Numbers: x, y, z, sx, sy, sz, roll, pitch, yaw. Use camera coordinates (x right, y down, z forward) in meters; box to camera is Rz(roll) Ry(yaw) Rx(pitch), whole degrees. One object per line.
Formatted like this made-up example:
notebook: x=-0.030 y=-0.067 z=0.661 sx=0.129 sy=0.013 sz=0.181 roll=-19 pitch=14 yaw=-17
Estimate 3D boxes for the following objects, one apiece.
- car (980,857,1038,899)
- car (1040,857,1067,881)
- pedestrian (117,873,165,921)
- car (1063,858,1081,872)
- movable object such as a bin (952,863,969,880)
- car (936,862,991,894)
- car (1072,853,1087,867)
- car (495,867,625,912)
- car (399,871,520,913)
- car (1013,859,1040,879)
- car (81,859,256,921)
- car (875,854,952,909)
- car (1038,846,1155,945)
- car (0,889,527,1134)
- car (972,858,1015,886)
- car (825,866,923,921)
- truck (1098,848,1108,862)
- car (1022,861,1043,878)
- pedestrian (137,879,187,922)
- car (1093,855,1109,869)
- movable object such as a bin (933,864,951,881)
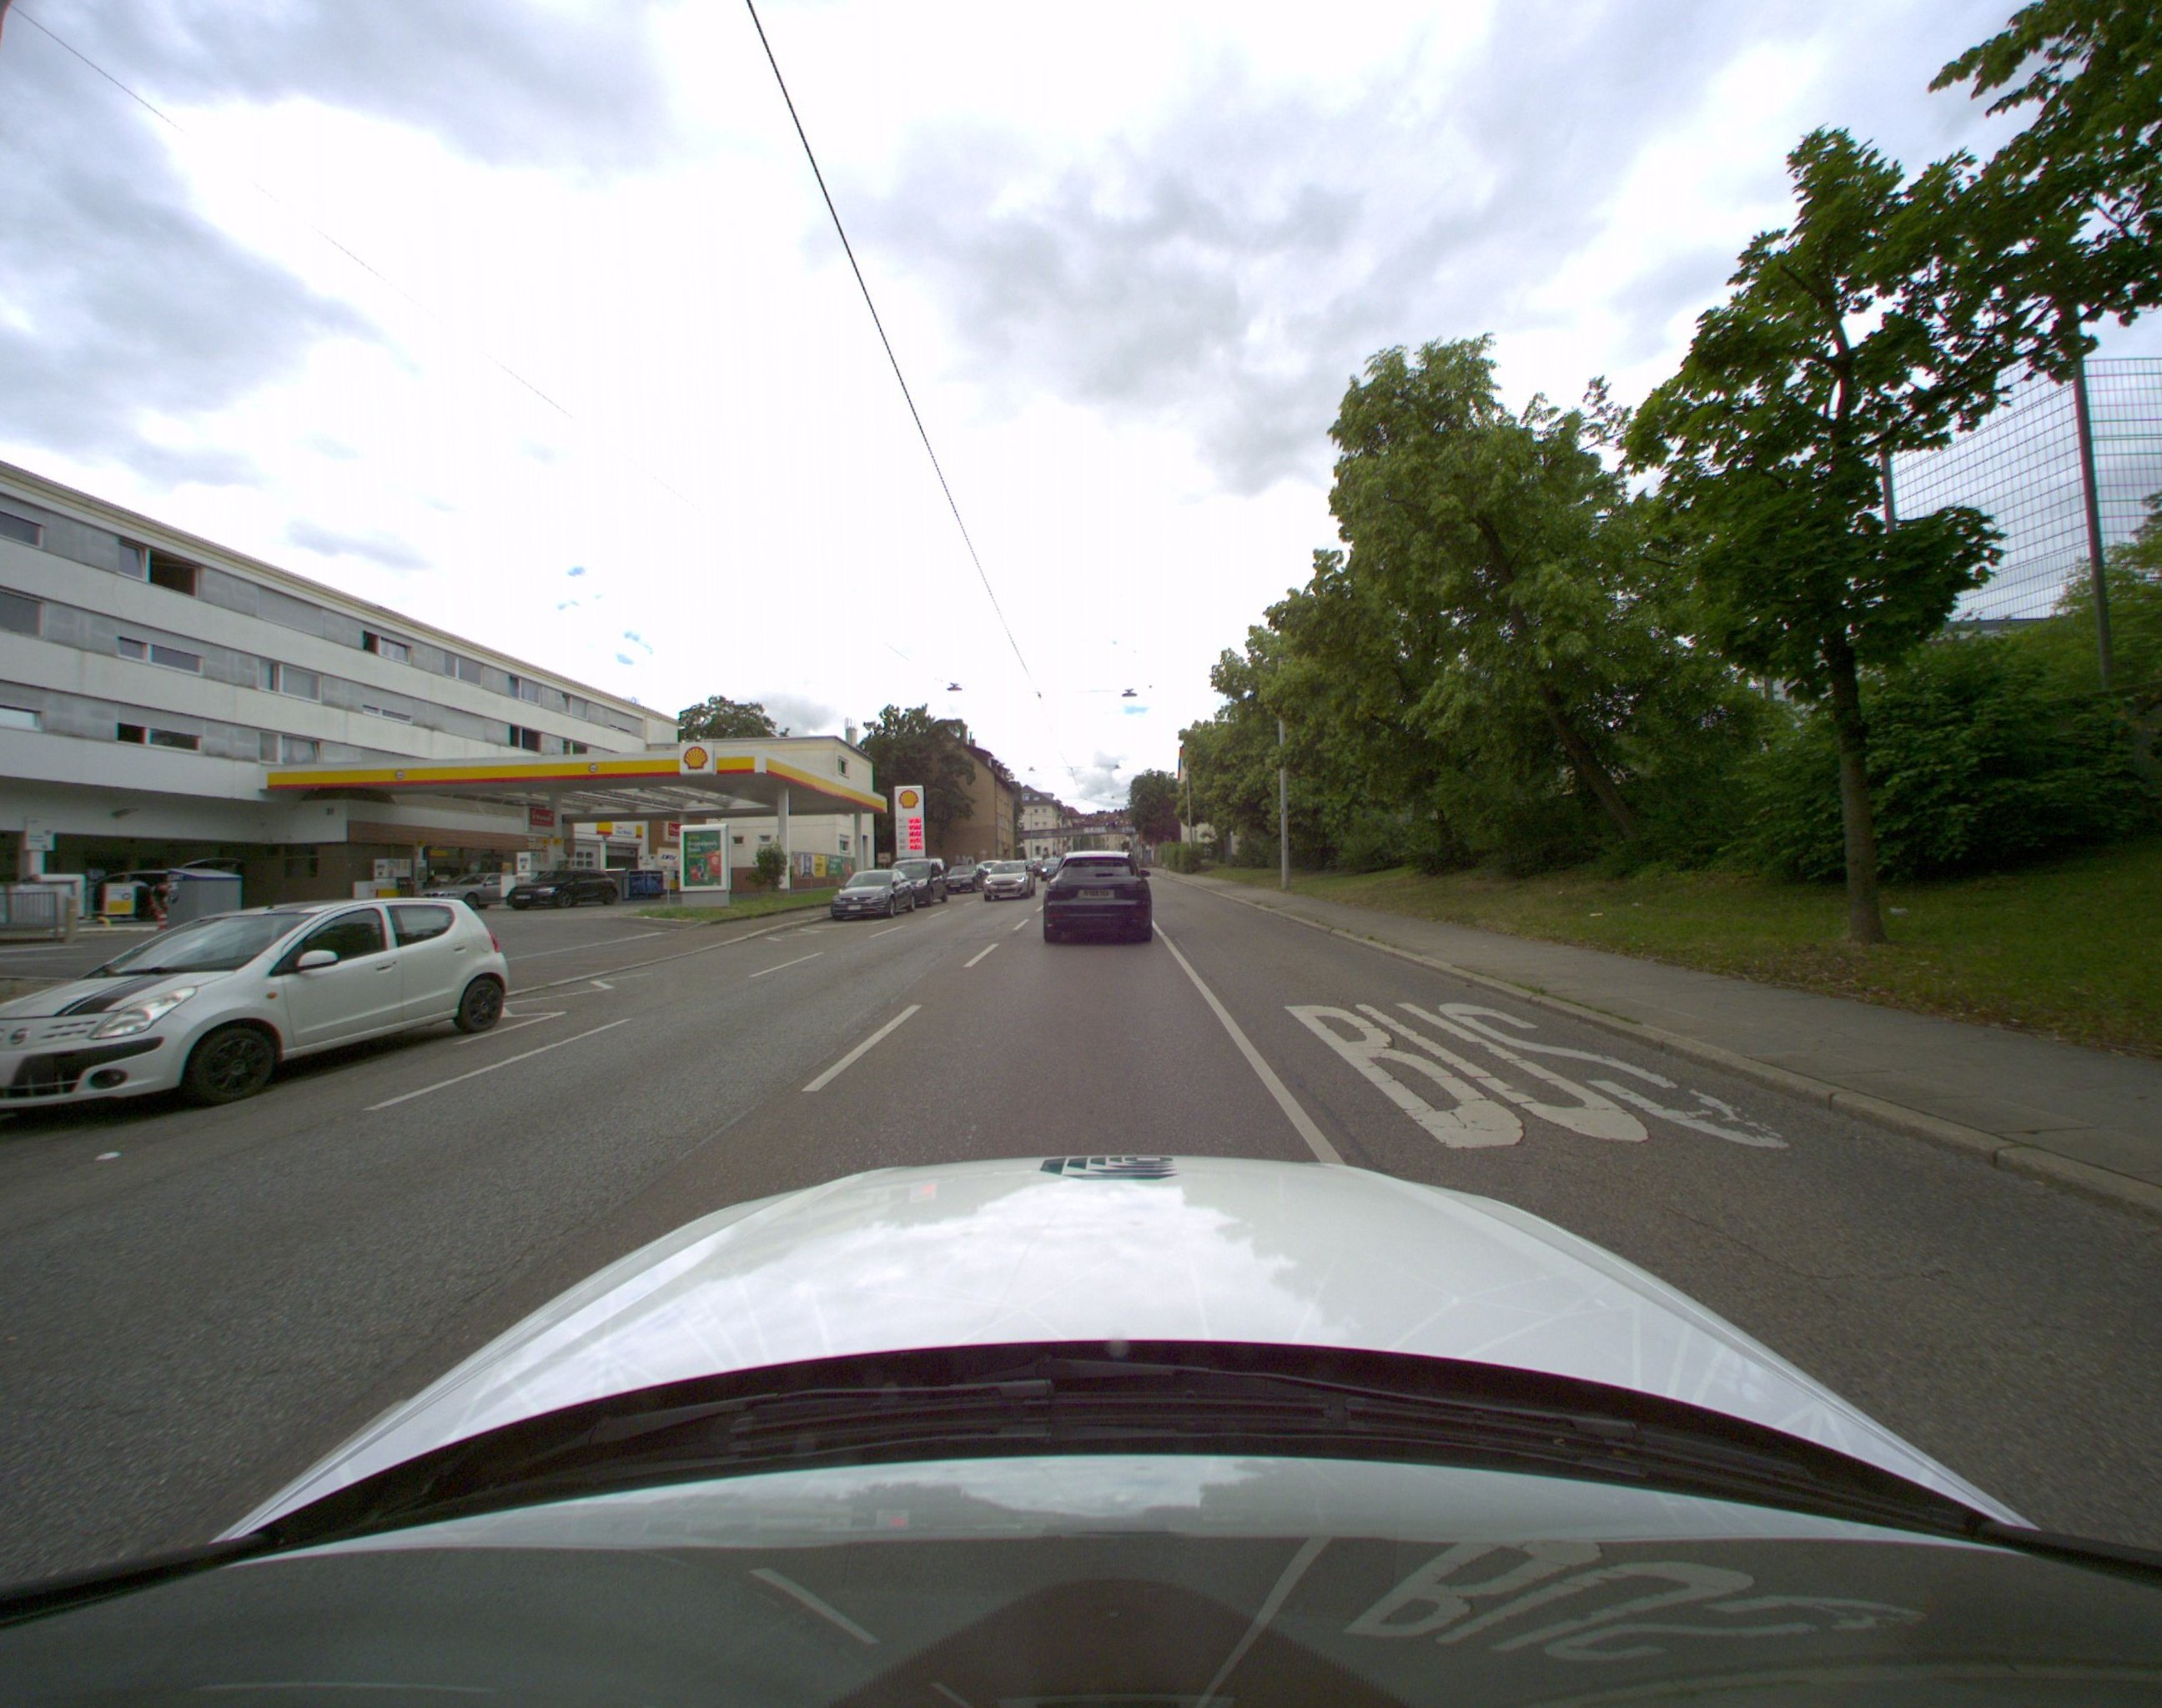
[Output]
car: x=-2.854 y=0.924 z=33.055 sx=1.791 sy=1.525 sz=4.001 roll=-3 pitch=0 yaw=2
car: x=-1.903 y=1.031 z=57.960 sx=1.677 sy=1.555 sz=3.719 roll=-3 pitch=0 yaw=1
pedestrian: x=-30.660 y=1.406 z=26.561 sx=0.795 sy=1.517 sz=0.666 roll=-1 pitch=0 yaw=4
car: x=-0.973 y=1.240 z=91.113 sx=1.771 sy=1.466 sz=4.501 roll=-3 pitch=0 yaw=2
movable object such as a bin: x=-10.474 y=1.554 z=71.015 sx=1.278 sy=1.428 sz=1.278 roll=-1 pitch=0 yaw=-3
car: x=-6.001 y=1.215 z=42.263 sx=1.790 sy=1.431 sz=4.748 roll=-3 pitch=0 yaw=4
car: x=-0.174 y=0.853 z=120.352 sx=1.924 sy=1.901 sz=4.591 roll=-2 pitch=0 yaw=1
car: x=-18.965 y=1.250 z=29.907 sx=1.791 sy=1.420 sz=4.418 roll=-1 pitch=0 yaw=2
car: x=-23.747 y=1.422 z=31.296 sx=1.791 sy=1.420 sz=3.637 roll=-1 pitch=0 yaw=2
car: x=-4.866 y=1.320 z=73.110 sx=1.776 sy=1.609 sz=4.267 roll=-4 pitch=-1 yaw=3
car: x=-30.944 y=1.192 z=27.705 sx=3.880 sy=1.963 sz=1.836 roll=-1 pitch=-1 yaw=1
car: x=-6.249 y=0.983 z=30.862 sx=1.845 sy=1.835 sz=4.701 roll=-3 pitch=0 yaw=0
car: x=0.340 y=0.700 z=15.989 sx=1.986 sy=1.662 sz=4.002 roll=-1 pitch=0 yaw=2
car: x=-7.057 y=1.136 z=7.226 sx=1.613 sy=1.425 sz=3.667 roll=-3 pitch=0 yaw=2
car: x=-5.460 y=1.099 z=51.245 sx=1.908 sy=1.577 sz=4.702 roll=-3 pitch=0 yaw=2
car: x=-6.331 y=1.161 z=25.408 sx=1.784 sy=1.450 sz=4.220 roll=-3 pitch=0 yaw=2
truck: x=5.264 y=0.286 z=195.731 sx=2.258 sy=3.424 sz=9.881 roll=-2 pitch=-1 yaw=2
car: x=-4.685 y=1.460 z=79.066 sx=1.746 sy=1.530 sz=4.098 roll=-3 pitch=0 yaw=0
pedestrian: x=-29.323 y=1.469 z=25.995 sx=0.661 sy=1.314 sz=0.801 roll=-1 pitch=0 yaw=0
car: x=2.186 y=0.871 z=88.305 sx=1.734 sy=1.400 sz=4.002 roll=-1 pitch=0 yaw=2
movable object such as a bin: x=-12.138 y=1.597 z=71.293 sx=1.388 sy=1.428 sz=0.913 roll=-1 pitch=-1 yaw=-1
